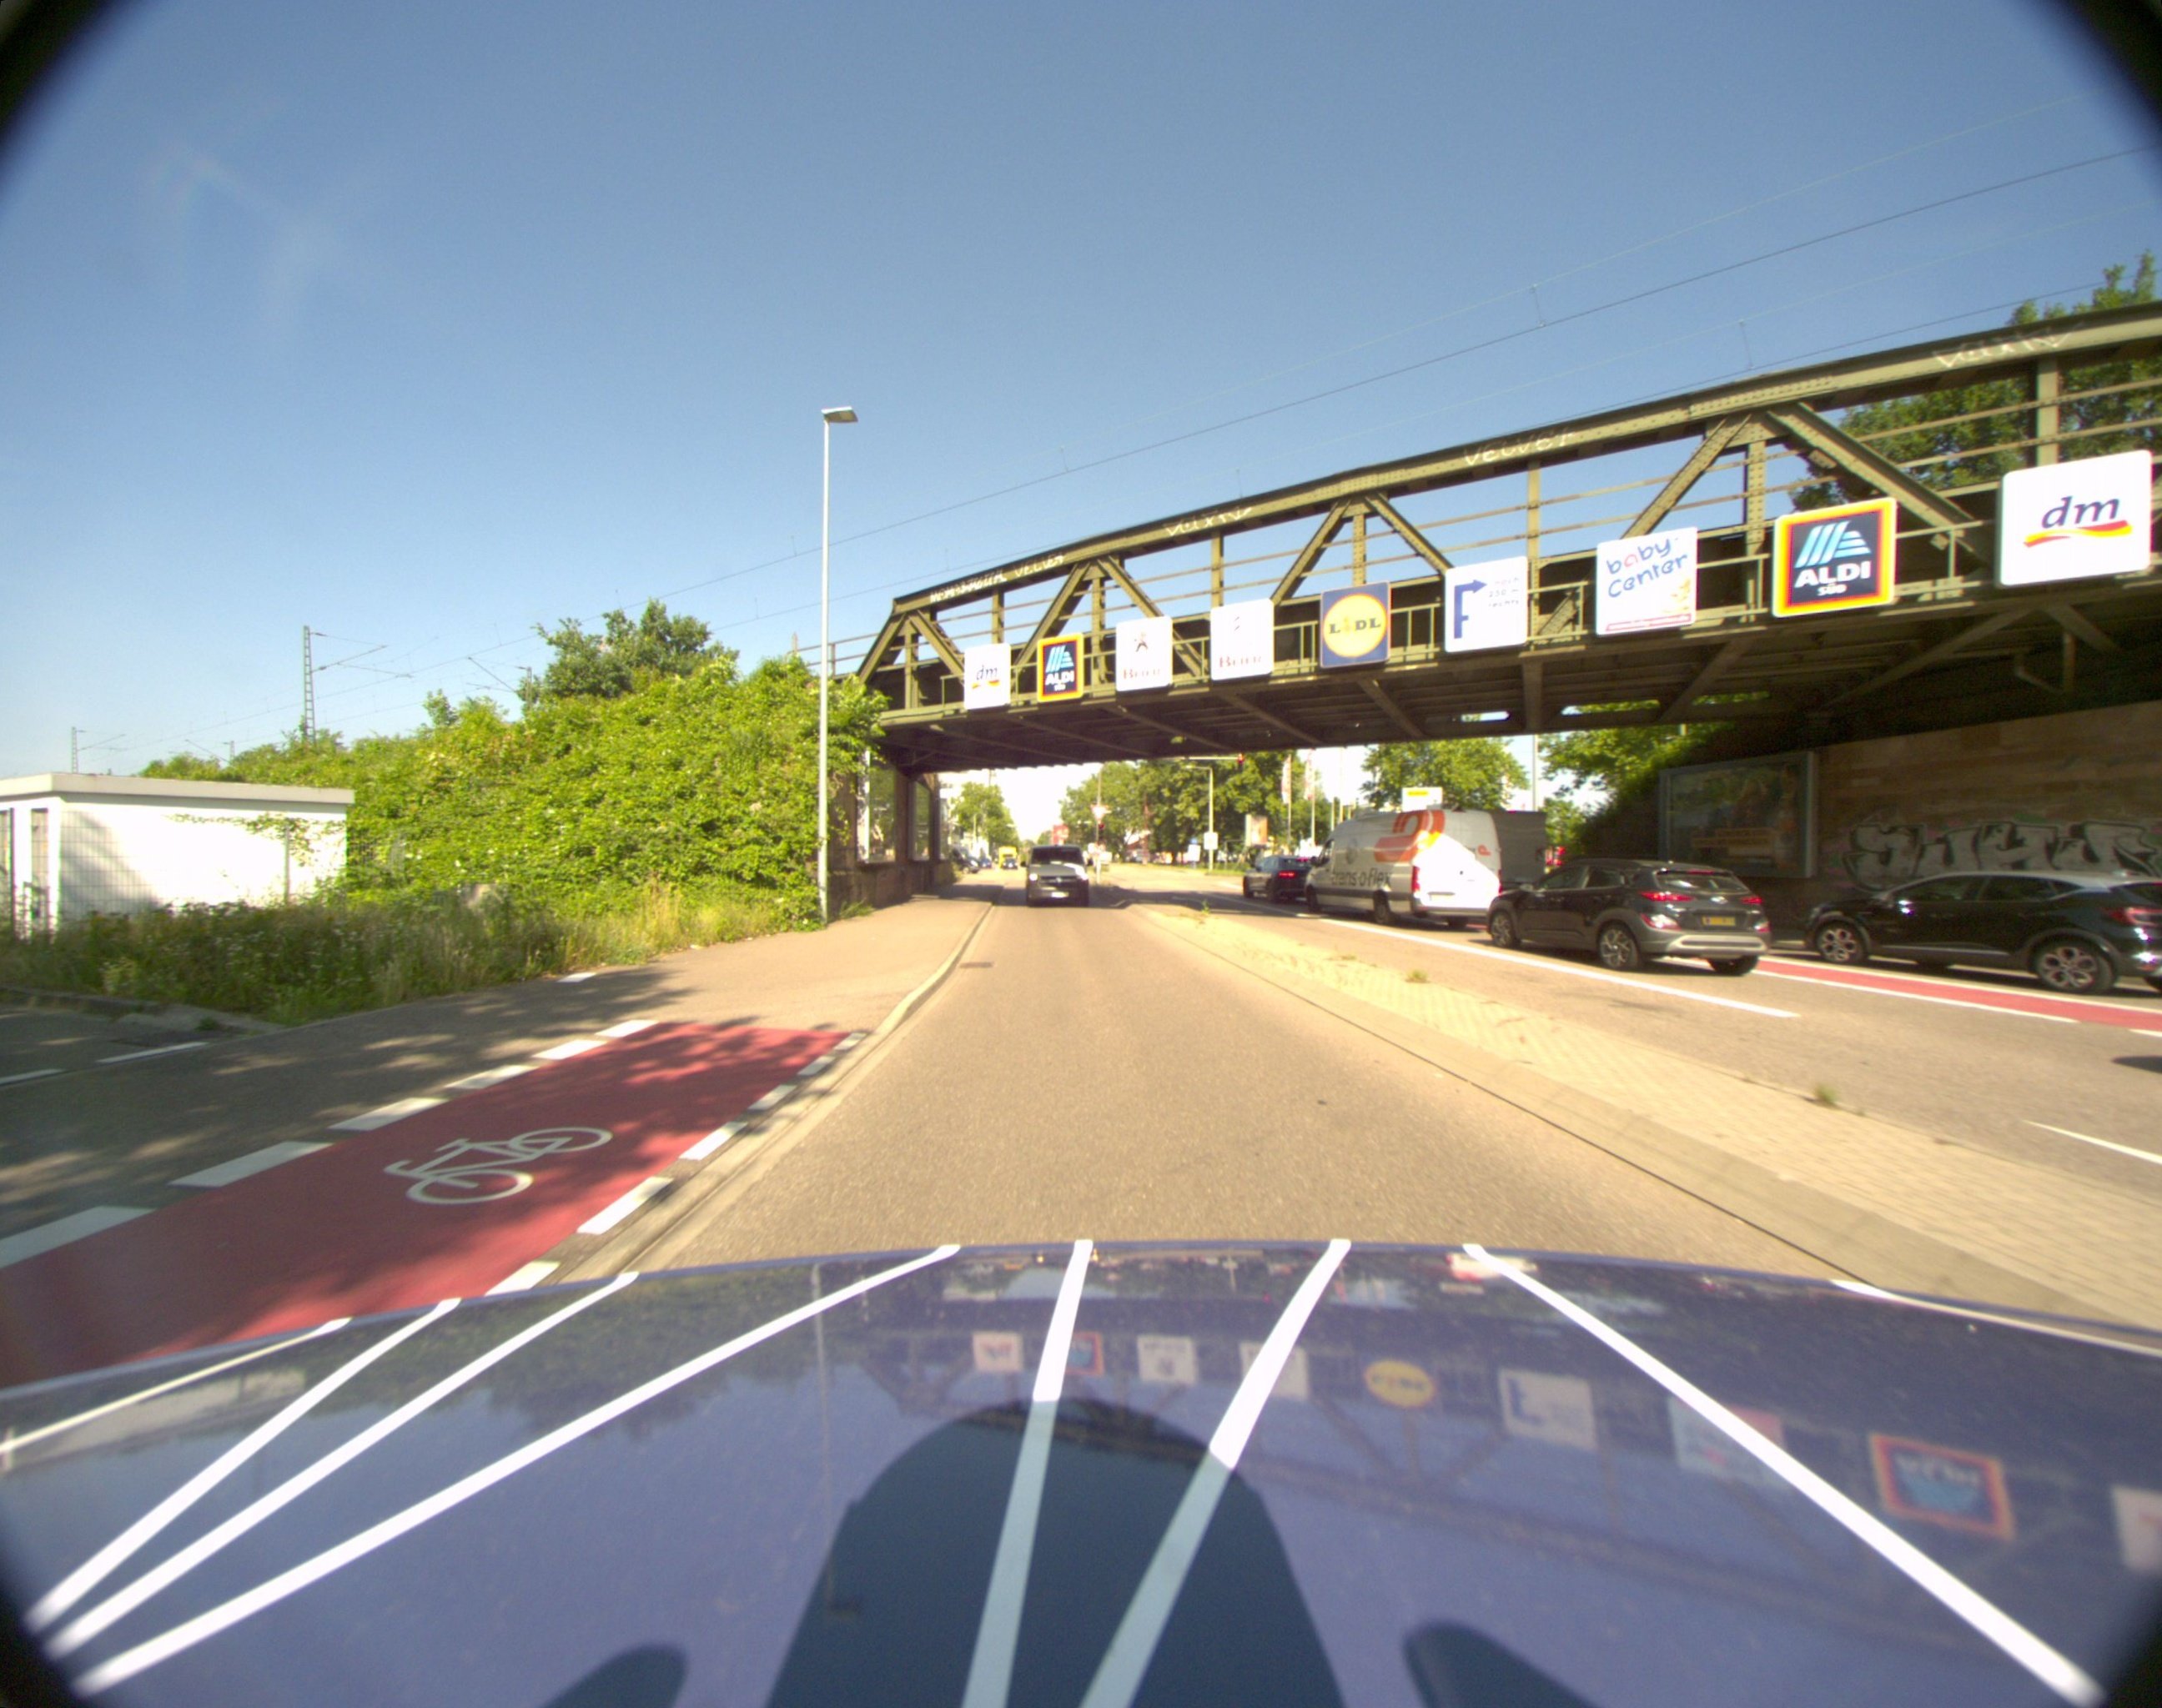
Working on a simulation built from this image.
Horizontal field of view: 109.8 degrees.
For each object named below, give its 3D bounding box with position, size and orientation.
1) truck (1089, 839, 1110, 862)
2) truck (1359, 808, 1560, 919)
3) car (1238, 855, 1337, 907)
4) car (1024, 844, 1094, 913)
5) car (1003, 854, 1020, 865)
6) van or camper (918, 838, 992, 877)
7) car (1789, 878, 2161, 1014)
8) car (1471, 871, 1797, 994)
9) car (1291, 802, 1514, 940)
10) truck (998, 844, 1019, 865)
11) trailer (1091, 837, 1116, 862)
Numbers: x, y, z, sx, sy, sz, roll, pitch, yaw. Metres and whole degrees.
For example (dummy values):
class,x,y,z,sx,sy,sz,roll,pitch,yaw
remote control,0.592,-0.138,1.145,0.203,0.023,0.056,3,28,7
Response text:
class,x,y,z,sx,sy,sz,roll,pitch,yaw
truck,3.409,-0.605,139.274,2.941,3.966,8.151,-2,0,-4
truck,11.895,0.250,24.786,2.348,3.070,7.065,0,0,-7
car,7.271,0.898,27.316,1.999,1.672,4.948,0,0,-3
car,-0.814,0.688,24.442,1.887,1.982,4.971,0,0,-6
car,-8.395,0.630,91.768,1.824,1.346,3.997,0,0,-8
van or camper,-10.836,0.315,65.562,5.775,3.136,2.601,-2,0,4
car,13.053,1.148,10.888,1.773,1.485,4.176,2,-1,-3
car,8.043,1.038,11.655,1.773,1.485,4.176,2,-1,-3
car,7.616,0.341,19.151,2.000,2.789,6.933,2,0,-5
truck,-10.259,0.126,107.576,2.411,2.846,5.800,-2,0,-10
trailer,3.859,-0.686,133.087,2.941,3.938,12.136,-2,-1,-4
